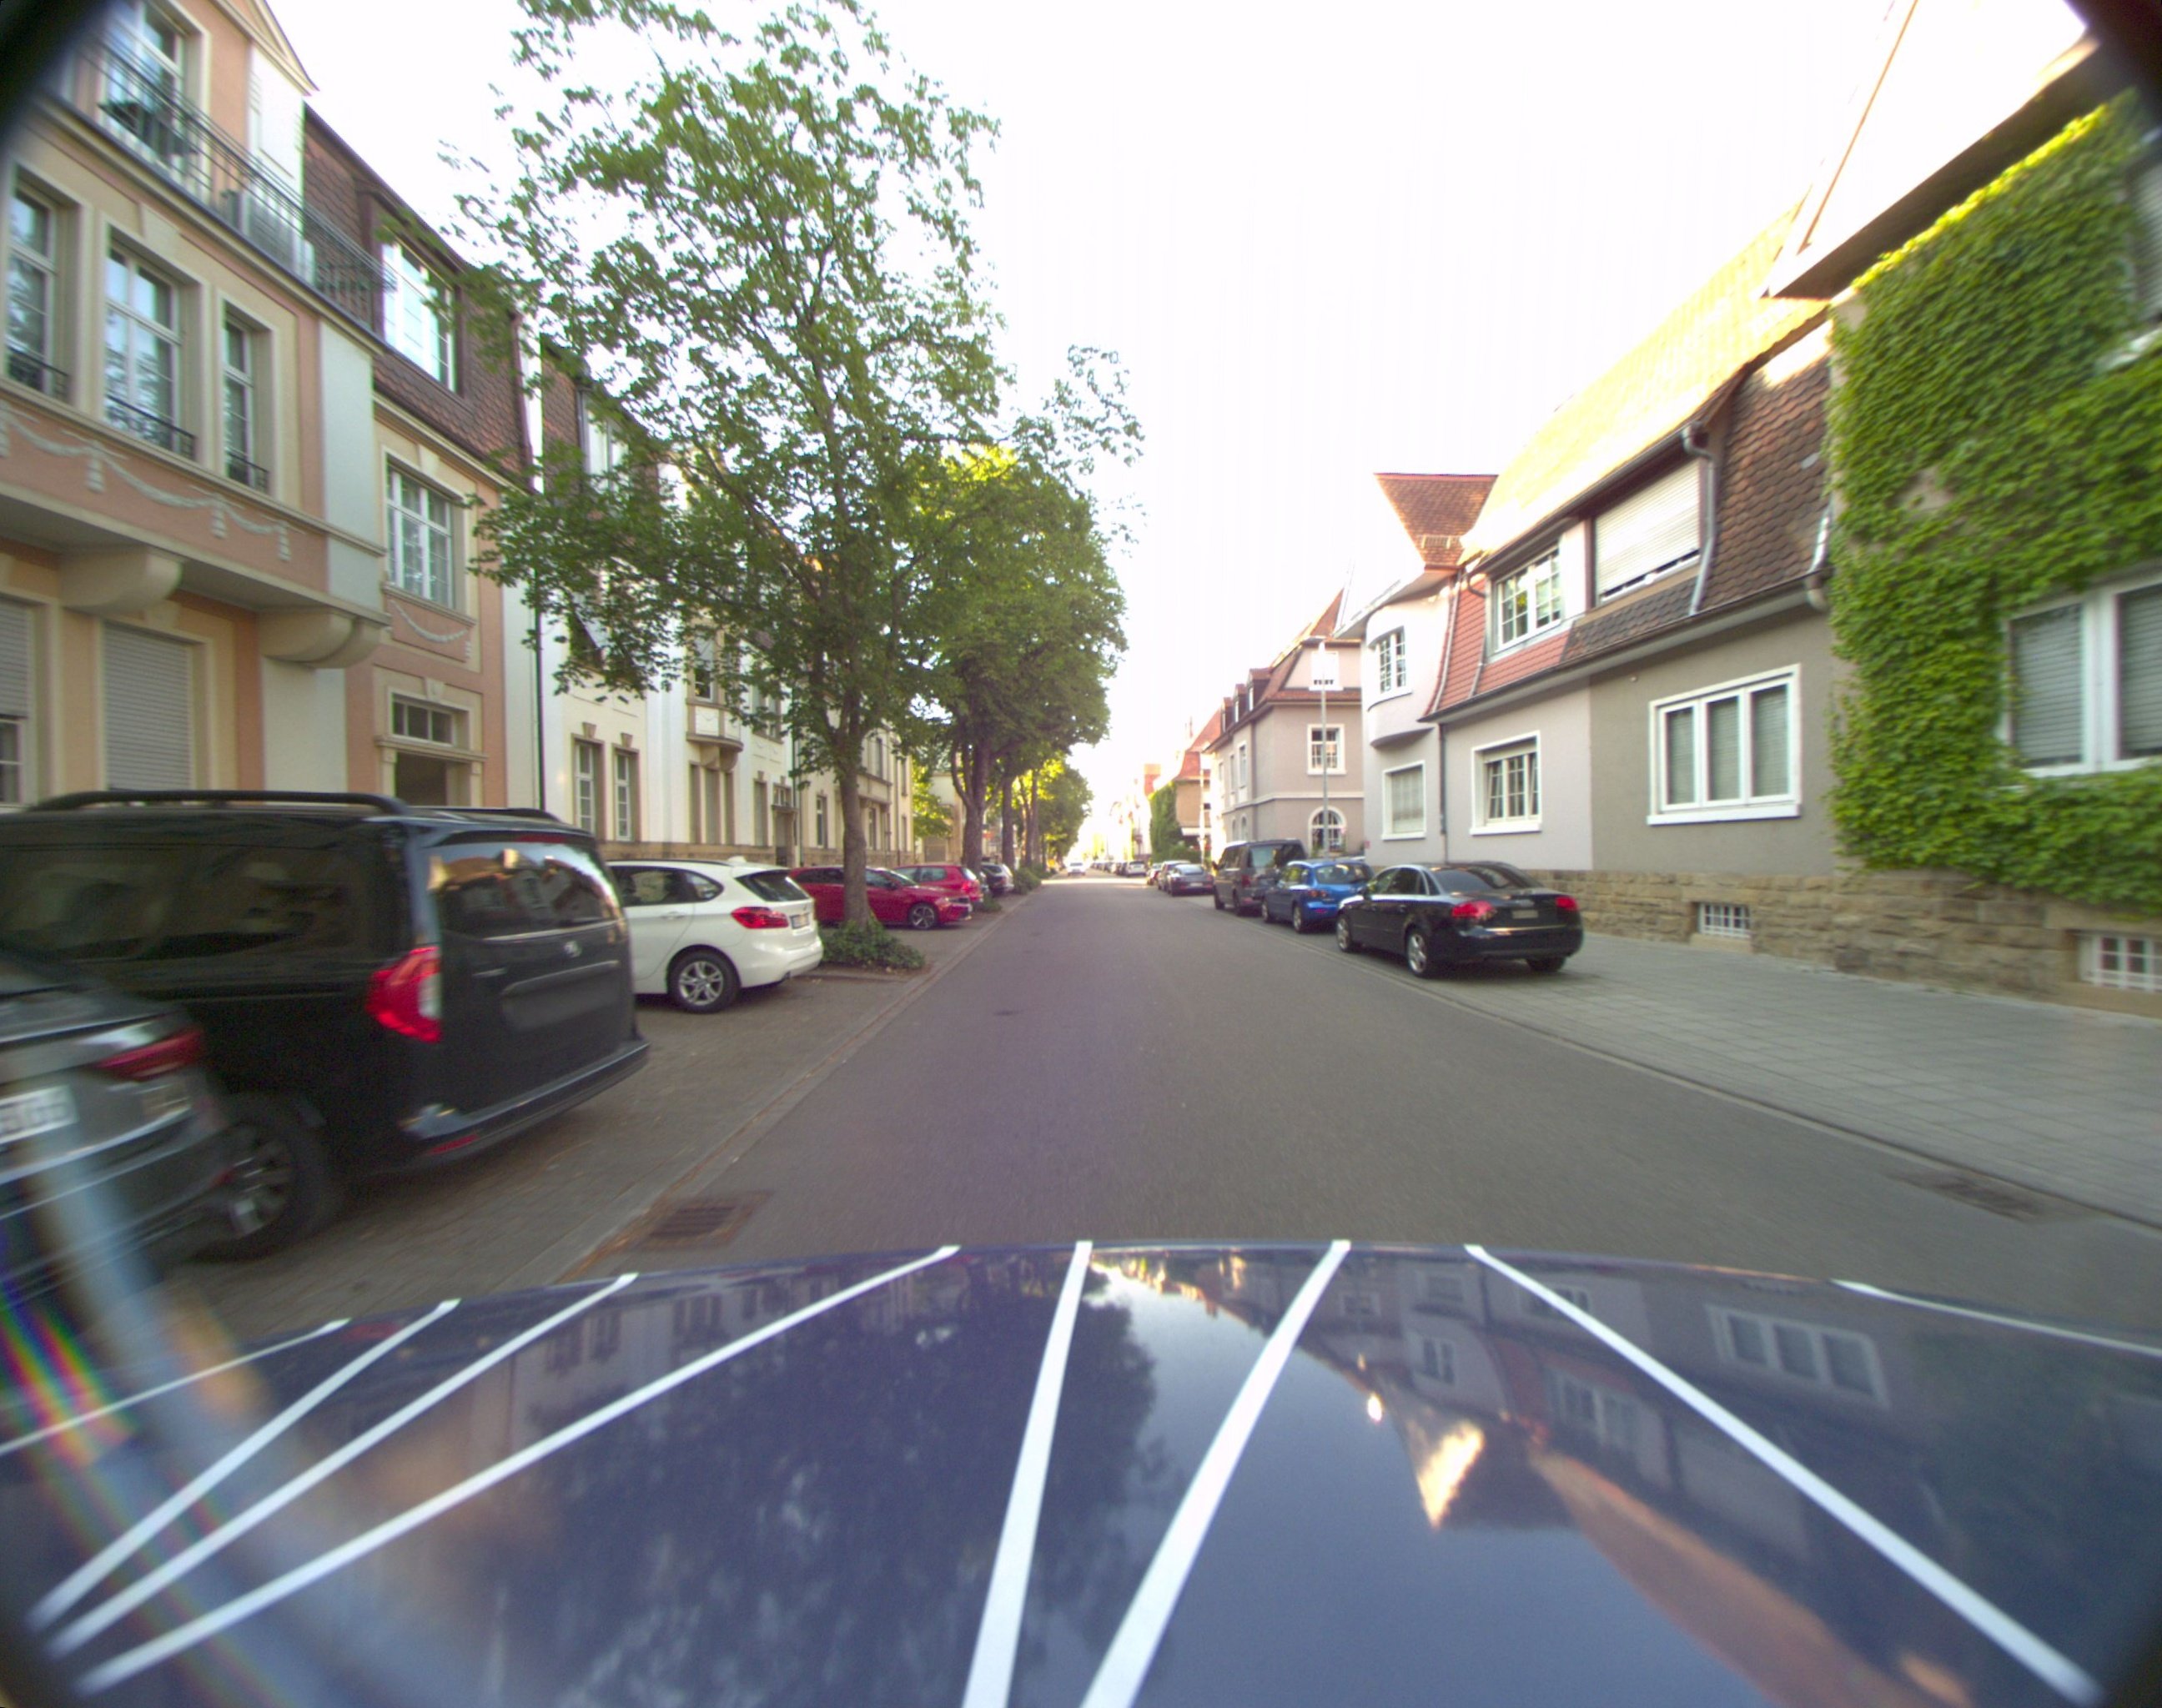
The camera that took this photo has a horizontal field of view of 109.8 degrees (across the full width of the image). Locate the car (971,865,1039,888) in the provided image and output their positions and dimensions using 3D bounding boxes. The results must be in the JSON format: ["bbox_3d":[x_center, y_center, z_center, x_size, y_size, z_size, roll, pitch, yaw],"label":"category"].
[{"bbox_3d":[-4.002,1.178,40.242,3.399,1.143,1.542,0,0,1],"label":"car"}]

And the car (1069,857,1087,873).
[{"bbox_3d":[-0.294,1.103,78.221,1.819,1.454,4.073,-2,0,0],"label":"car"}]

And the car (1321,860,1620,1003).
[{"bbox_3d":[4.960,0.862,10.513,1.806,1.438,4.428,-3,0,0],"label":"car"}]

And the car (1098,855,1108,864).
[{"bbox_3d":[4.188,1.027,145.017,1.699,1.520,3.677,-3,0,1],"label":"car"}]

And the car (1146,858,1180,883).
[{"bbox_3d":[4.949,0.991,46.273,1.662,1.354,3.677,-3,0,1],"label":"car"}]

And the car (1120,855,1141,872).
[{"bbox_3d":[4.619,0.885,71.163,1.699,1.520,3.677,-3,0,1],"label":"car"}]

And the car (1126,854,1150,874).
[{"bbox_3d":[4.771,0.845,63.899,1.699,1.558,3.677,-3,0,1],"label":"car"}]

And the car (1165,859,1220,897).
[{"bbox_3d":[4.695,0.978,32.553,1.932,1.376,4.063,-3,0,3],"label":"car"}]

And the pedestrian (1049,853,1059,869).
[{"bbox_3d":[-3.390,0.809,94.058,1.119,1.926,1.097,-3,0,-1],"label":"pedestrian"}]

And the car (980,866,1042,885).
[{"bbox_3d":[-3.982,1.204,43.448,3.399,1.057,1.542,0,0,1],"label":"car"}]

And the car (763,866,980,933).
[{"bbox_3d":[-4.766,1.023,17.735,4.530,1.443,1.868,0,0,2],"label":"car"}]

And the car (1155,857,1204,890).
[{"bbox_3d":[4.868,0.942,38.032,1.932,1.458,4.062,-3,0,1],"label":"car"}]

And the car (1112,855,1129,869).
[{"bbox_3d":[4.474,0.888,86.907,1.699,1.520,3.677,-3,0,1],"label":"car"}]

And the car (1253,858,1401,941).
[{"bbox_3d":[5.063,0.866,16.230,1.768,1.438,4.062,-3,0,0],"label":"car"}]

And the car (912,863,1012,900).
[{"bbox_3d":[-4.660,1.061,30.073,3.680,1.390,1.576,0,0,1],"label":"car"}]

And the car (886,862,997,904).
[{"bbox_3d":[-4.999,1.031,27.506,3.680,1.457,1.576,0,0,1],"label":"car"}]

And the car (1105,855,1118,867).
[{"bbox_3d":[4.466,1.021,111.757,1.699,1.520,3.677,-3,0,1],"label":"car"}]

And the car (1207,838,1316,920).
[{"bbox_3d":[4.882,0.624,21.243,1.842,1.963,4.612,-3,0,0],"label":"car"}]

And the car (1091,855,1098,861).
[{"bbox_3d":[3.632,1.005,198.649,1.699,1.520,3.677,-3,0,1],"label":"car"}]

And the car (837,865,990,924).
[{"bbox_3d":[-4.394,1.044,20.267,3.680,1.473,1.659,0,0,2],"label":"car"}]

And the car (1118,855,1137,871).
[{"bbox_3d":[4.671,0.881,76.656,1.699,1.520,3.677,-3,0,1],"label":"car"}]

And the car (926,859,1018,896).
[{"bbox_3d":[-4.648,0.995,32.640,3.680,1.548,1.576,0,0,1],"label":"car"}]

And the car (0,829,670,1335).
[{"bbox_3d":[-4.541,0.821,3.630,4.121,1.826,1.844,0,0,-2],"label":"car"}]

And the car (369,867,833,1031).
[{"bbox_3d":[-4.977,0.946,8.310,3.950,1.568,1.719,0,0,-1],"label":"car"}]

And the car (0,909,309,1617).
[{"bbox_3d":[-4.634,0.932,1.305,4.522,1.514,1.844,0,0,-4],"label":"car"}]

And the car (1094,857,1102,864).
[{"bbox_3d":[3.681,1.474,169.182,1.699,1.520,3.677,-3,0,1],"label":"car"}]
